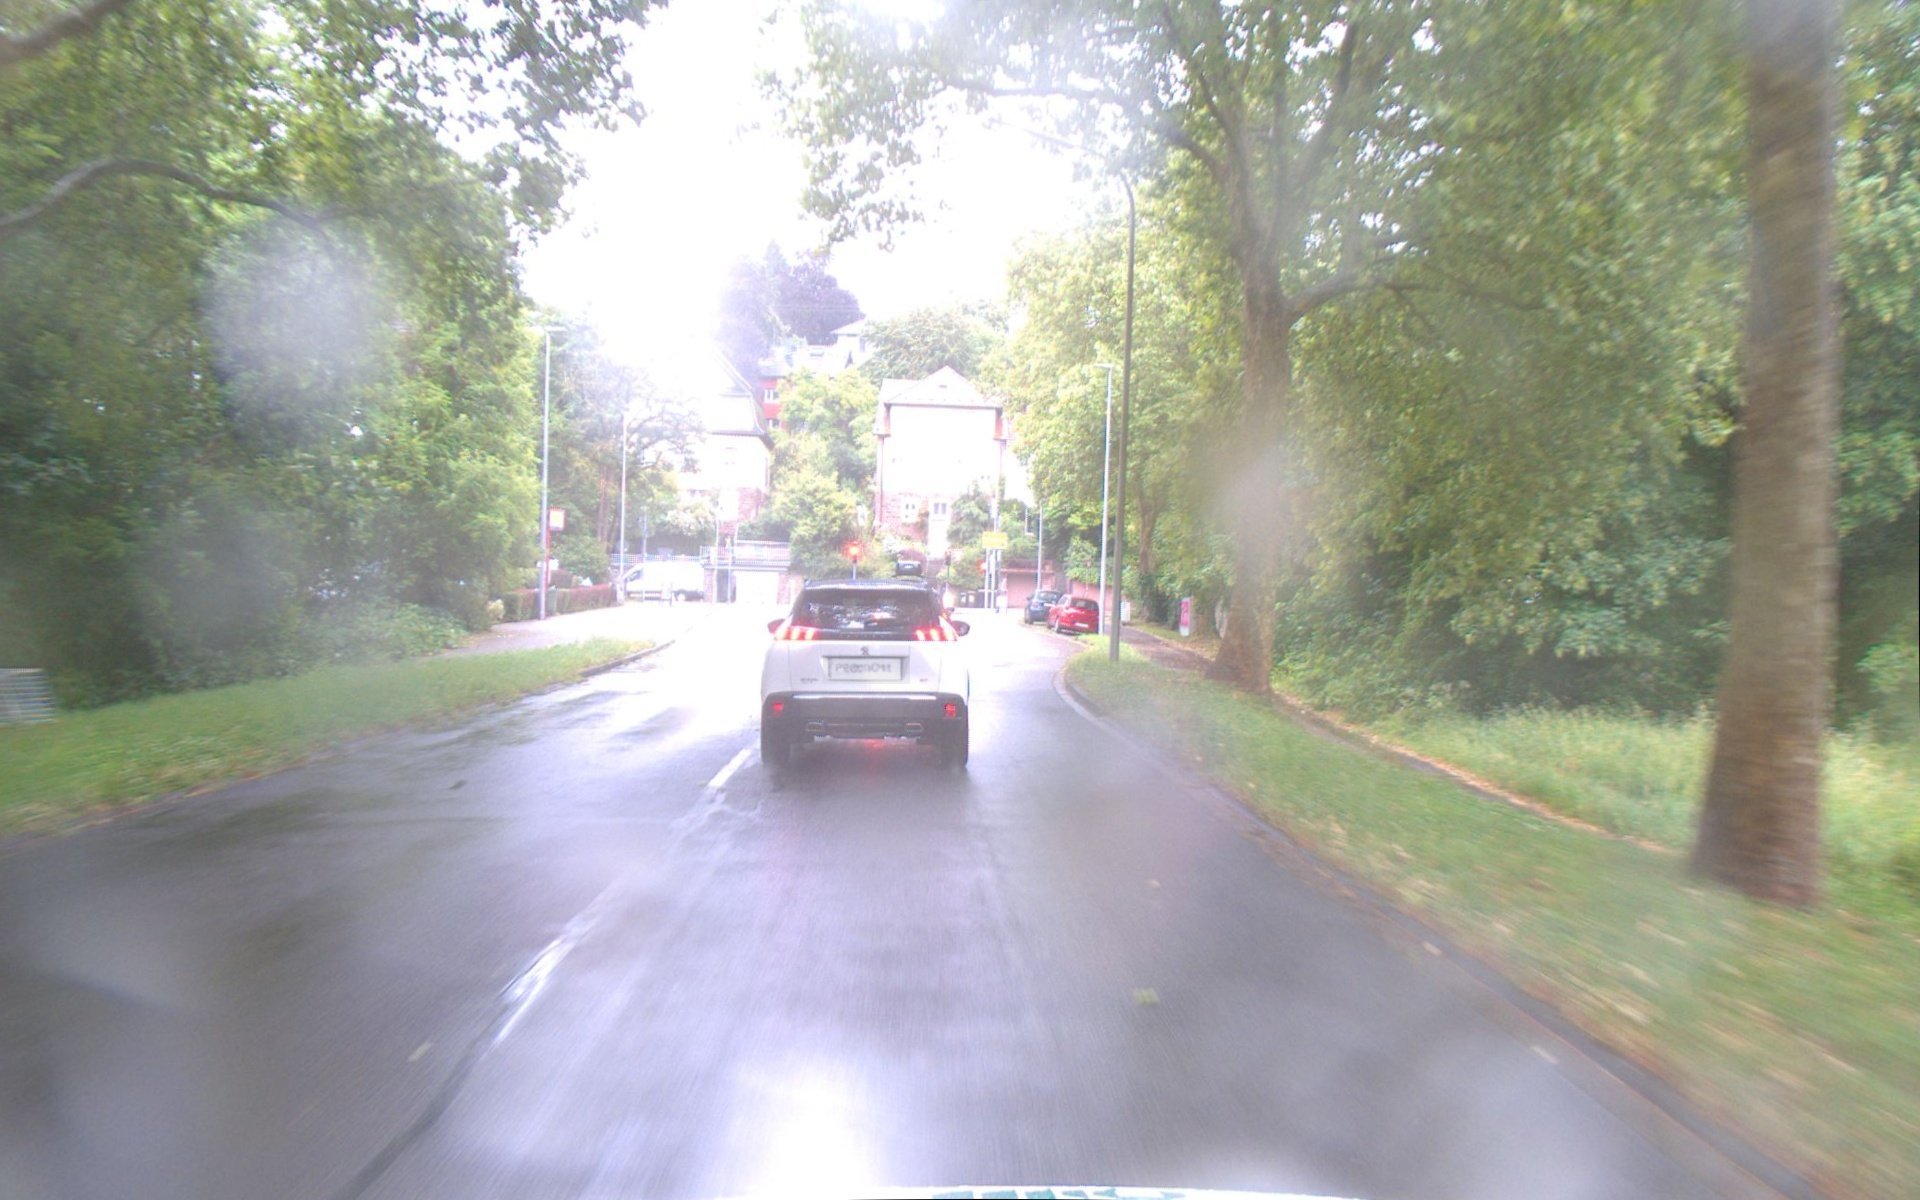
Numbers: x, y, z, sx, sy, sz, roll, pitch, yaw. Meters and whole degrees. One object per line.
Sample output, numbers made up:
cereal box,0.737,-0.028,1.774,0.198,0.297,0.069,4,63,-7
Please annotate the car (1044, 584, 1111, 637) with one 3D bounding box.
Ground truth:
car,4.392,0.370,62.238,1.785,1.542,3.741,9,2,-5

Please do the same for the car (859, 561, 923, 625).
car,-2.091,-0.251,49.339,1.725,1.740,4.598,3,1,-3

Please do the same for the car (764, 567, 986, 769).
car,-0.732,0.507,15.093,1.717,1.562,4.366,1,1,-2

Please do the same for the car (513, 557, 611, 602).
car,-24.917,-1.246,103.654,5.449,2.538,2.315,2,-1,-1

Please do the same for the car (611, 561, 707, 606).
car,-18.821,-1.024,103.629,5.545,2.538,2.315,2,-1,-1

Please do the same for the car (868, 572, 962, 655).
car,-0.957,0.229,35.582,1.795,1.481,4.658,4,1,-2

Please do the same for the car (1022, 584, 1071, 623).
car,3.715,0.123,71.836,1.714,1.517,3.598,4,0,-2
